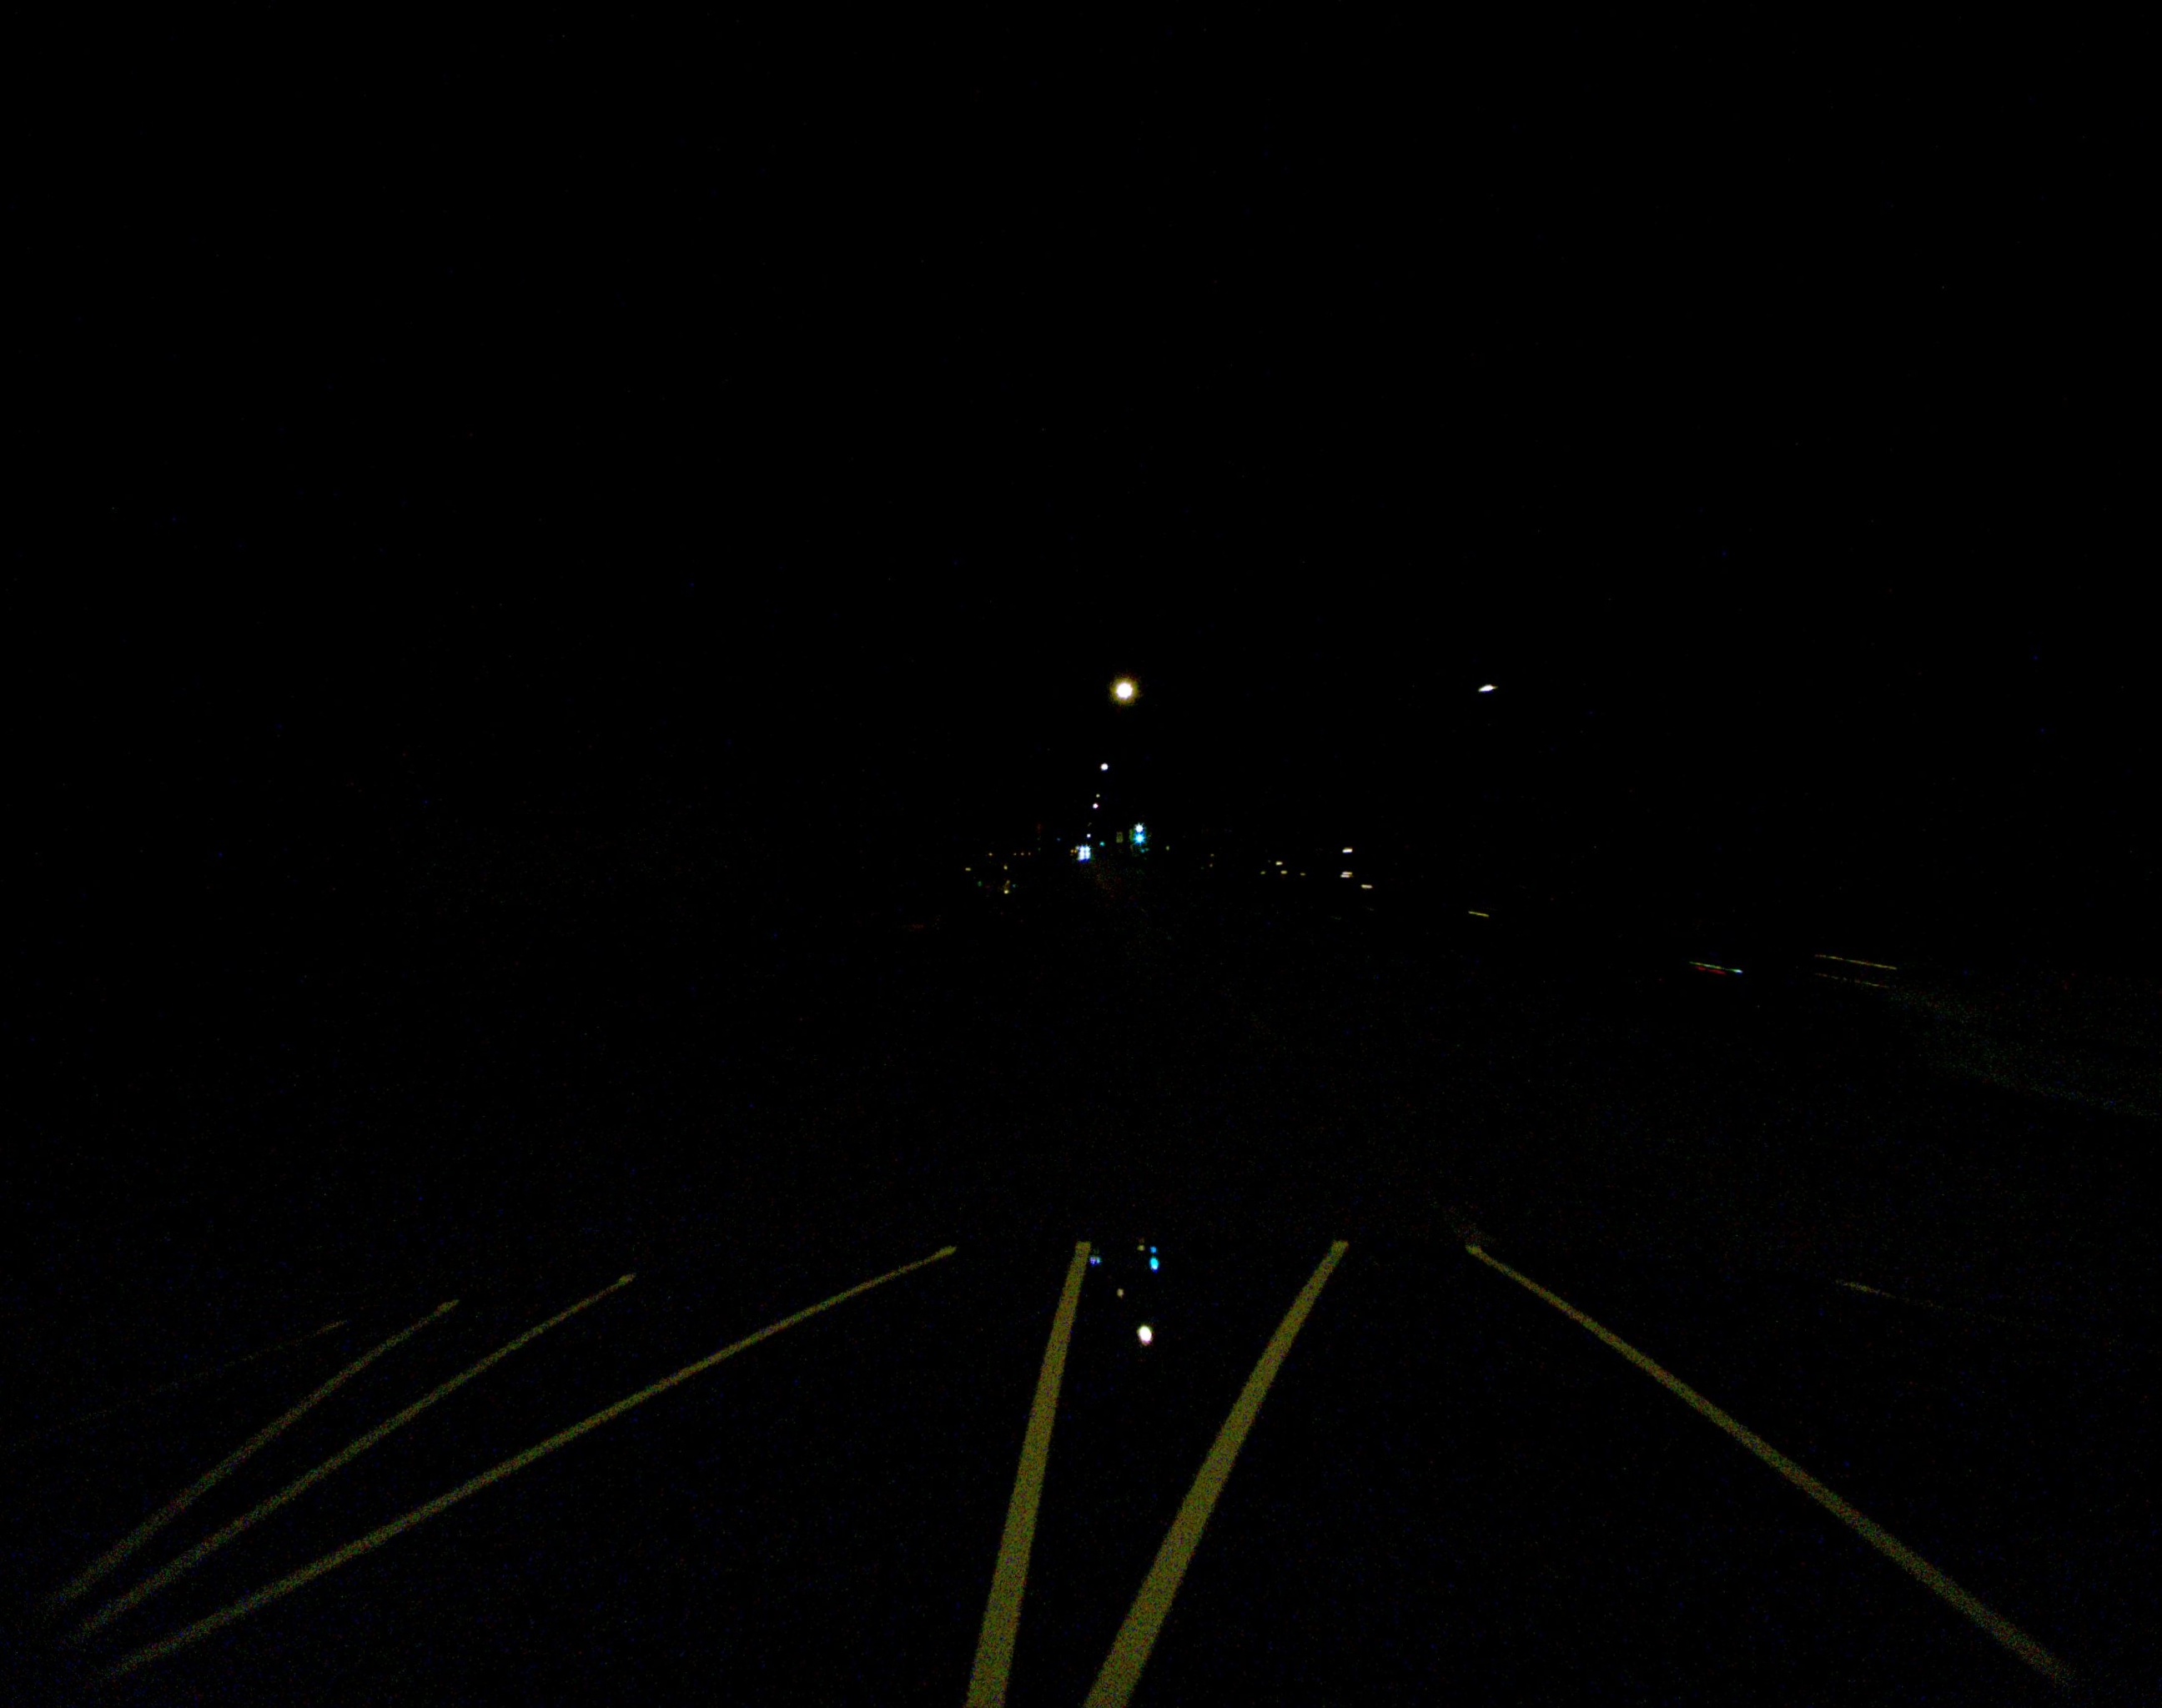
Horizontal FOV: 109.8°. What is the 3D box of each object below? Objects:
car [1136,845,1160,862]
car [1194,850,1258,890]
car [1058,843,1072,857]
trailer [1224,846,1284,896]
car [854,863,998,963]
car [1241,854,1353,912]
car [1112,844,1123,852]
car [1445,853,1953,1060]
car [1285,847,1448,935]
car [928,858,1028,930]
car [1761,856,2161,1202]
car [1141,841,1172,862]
[{"bbox_3d":[6.170,-0.053,70.156,1.652,1.506,3.700,-2,1,-3],"label":"car"},{"bbox_3d":[6.024,0.621,32.047,1.819,1.476,4.346,-1,1,-1],"label":"car"},{"bbox_3d":[-2.213,-0.563,106.447,1.916,1.816,4.899,-1,1,-2],"label":"car"},{"bbox_3d":[6.250,0.562,27.735,1.641,1.630,3.439,-1,1,5],"label":"trailer"},{"bbox_3d":[-2.601,0.935,13.678,1.775,1.439,4.018,0,1,0],"label":"car"},{"bbox_3d":[5.968,0.733,21.592,1.840,1.438,4.544,0,0,-1],"label":"car"},{"bbox_3d":[6.806,-1.068,141.517,1.731,1.477,4.290,-2,1,-1],"label":"car"},{"bbox_3d":[5.825,0.792,8.038,1.868,1.483,4.279,-2,1,0],"label":"car"},{"bbox_3d":[5.946,0.677,16.455,1.839,1.609,4.544,-2,0,1],"label":"car"},{"bbox_3d":[-2.434,0.896,19.099,1.850,1.409,4.644,2,1,0],"label":"car"},{"bbox_3d":[5.704,0.818,3.570,1.626,1.483,3.779,-2,1,0],"label":"car"},{"bbox_3d":[6.323,-0.209,64.280,1.853,1.641,4.670,-2,0,-3],"label":"car"}]
